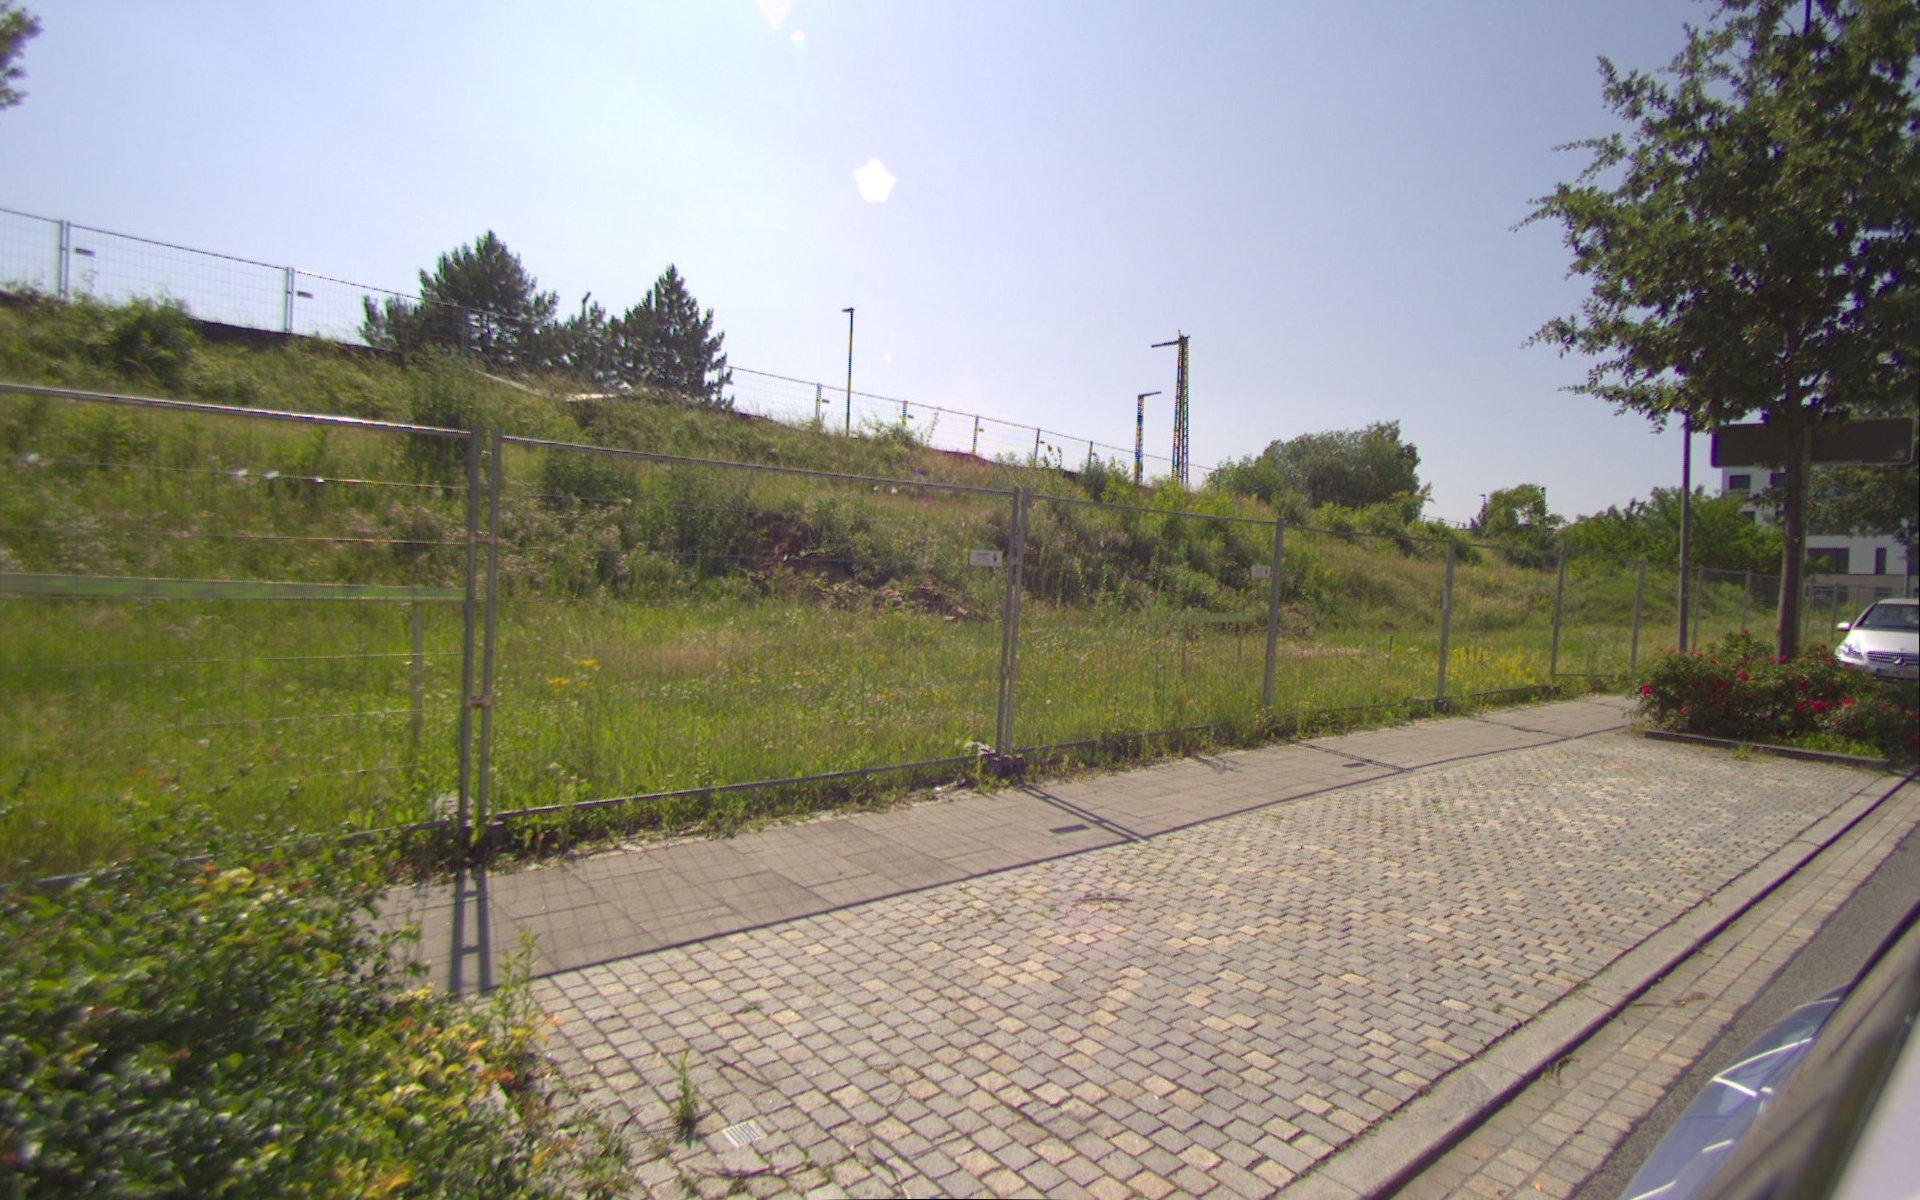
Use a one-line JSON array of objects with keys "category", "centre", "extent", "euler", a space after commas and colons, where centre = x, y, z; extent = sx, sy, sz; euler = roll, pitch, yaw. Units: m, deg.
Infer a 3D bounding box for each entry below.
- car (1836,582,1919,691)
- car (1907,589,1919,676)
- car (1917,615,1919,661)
[{"category": "car", "centre": [16.571, 0.631, 17.216], "extent": [4.293, 1.635, 1.847], "euler": [1, 3, -41]}, {"category": "car", "centre": [20.043, 0.696, 19.731], "extent": [3.930, 1.636, 1.847], "euler": [1, 3, -41]}, {"category": "car", "centre": [25.207, 0.735, 25.002], "extent": [3.930, 1.636, 1.846], "euler": [1, 3, -41]}]
